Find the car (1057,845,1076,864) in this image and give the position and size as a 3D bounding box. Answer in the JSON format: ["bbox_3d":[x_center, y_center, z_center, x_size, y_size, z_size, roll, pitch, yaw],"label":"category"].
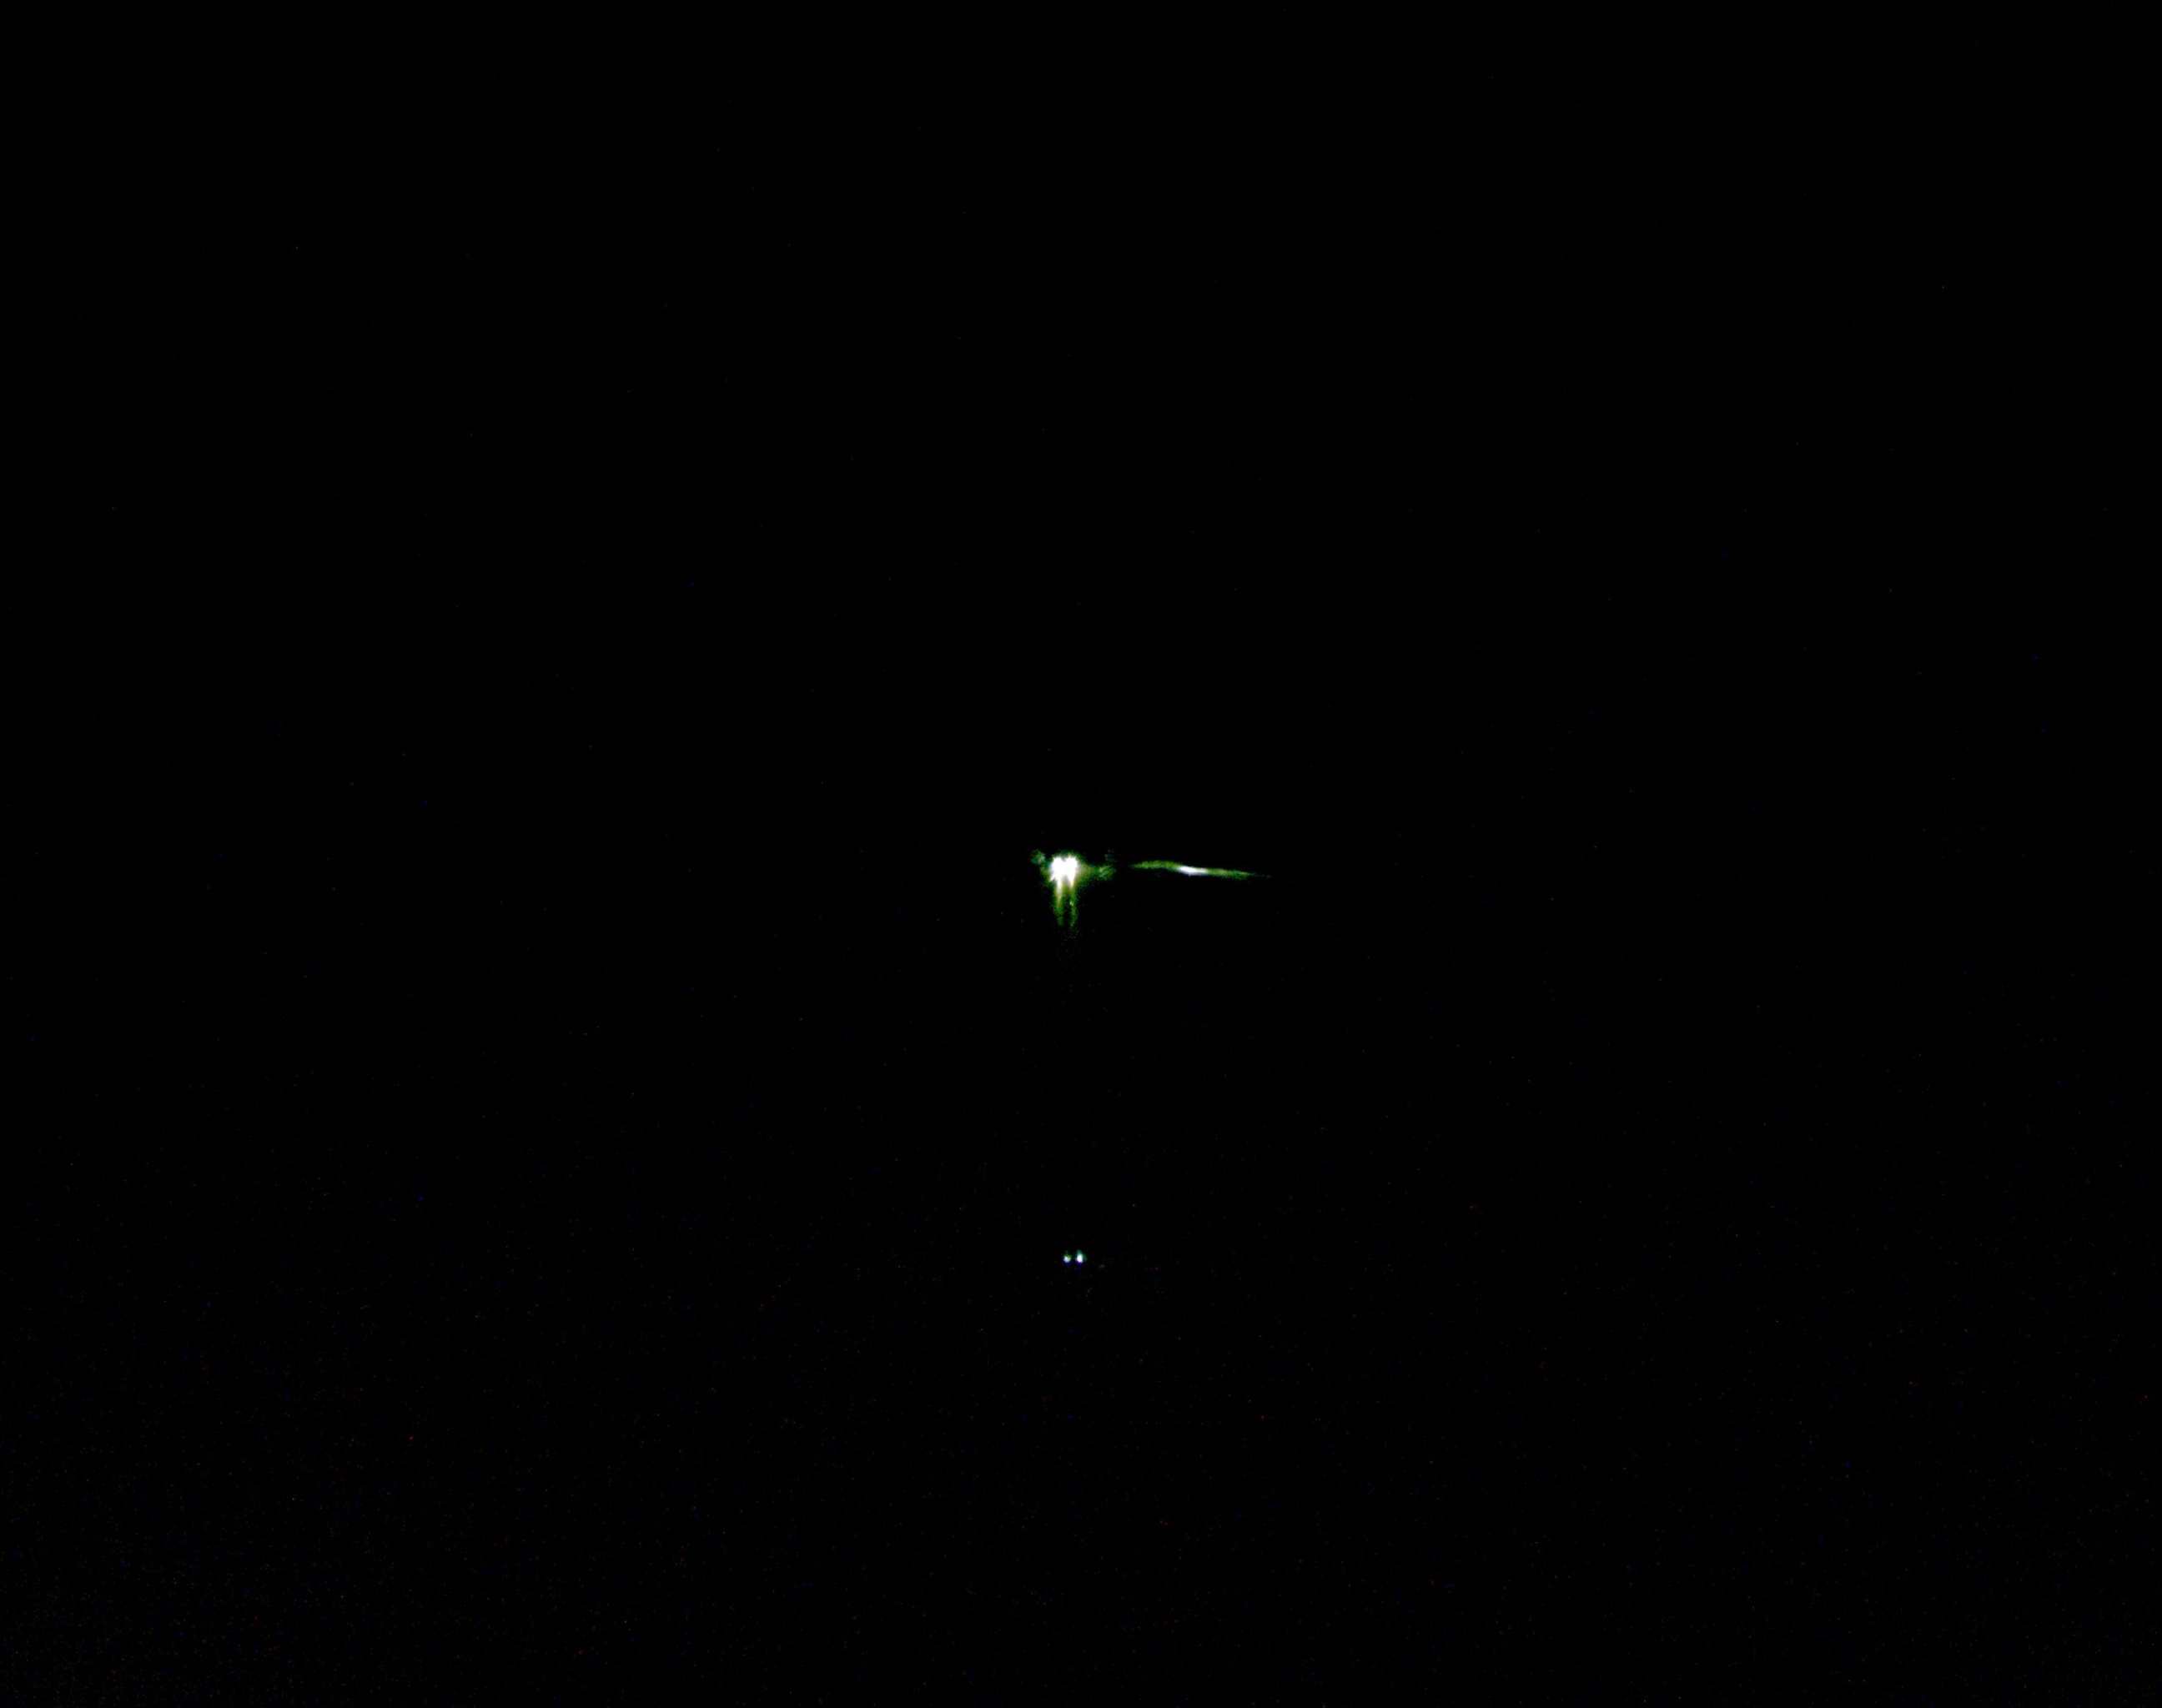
[{"bbox_3d":[-1.727,0.062,92.119,1.998,2.003,3.998,-3,3,1],"label":"car"}]
